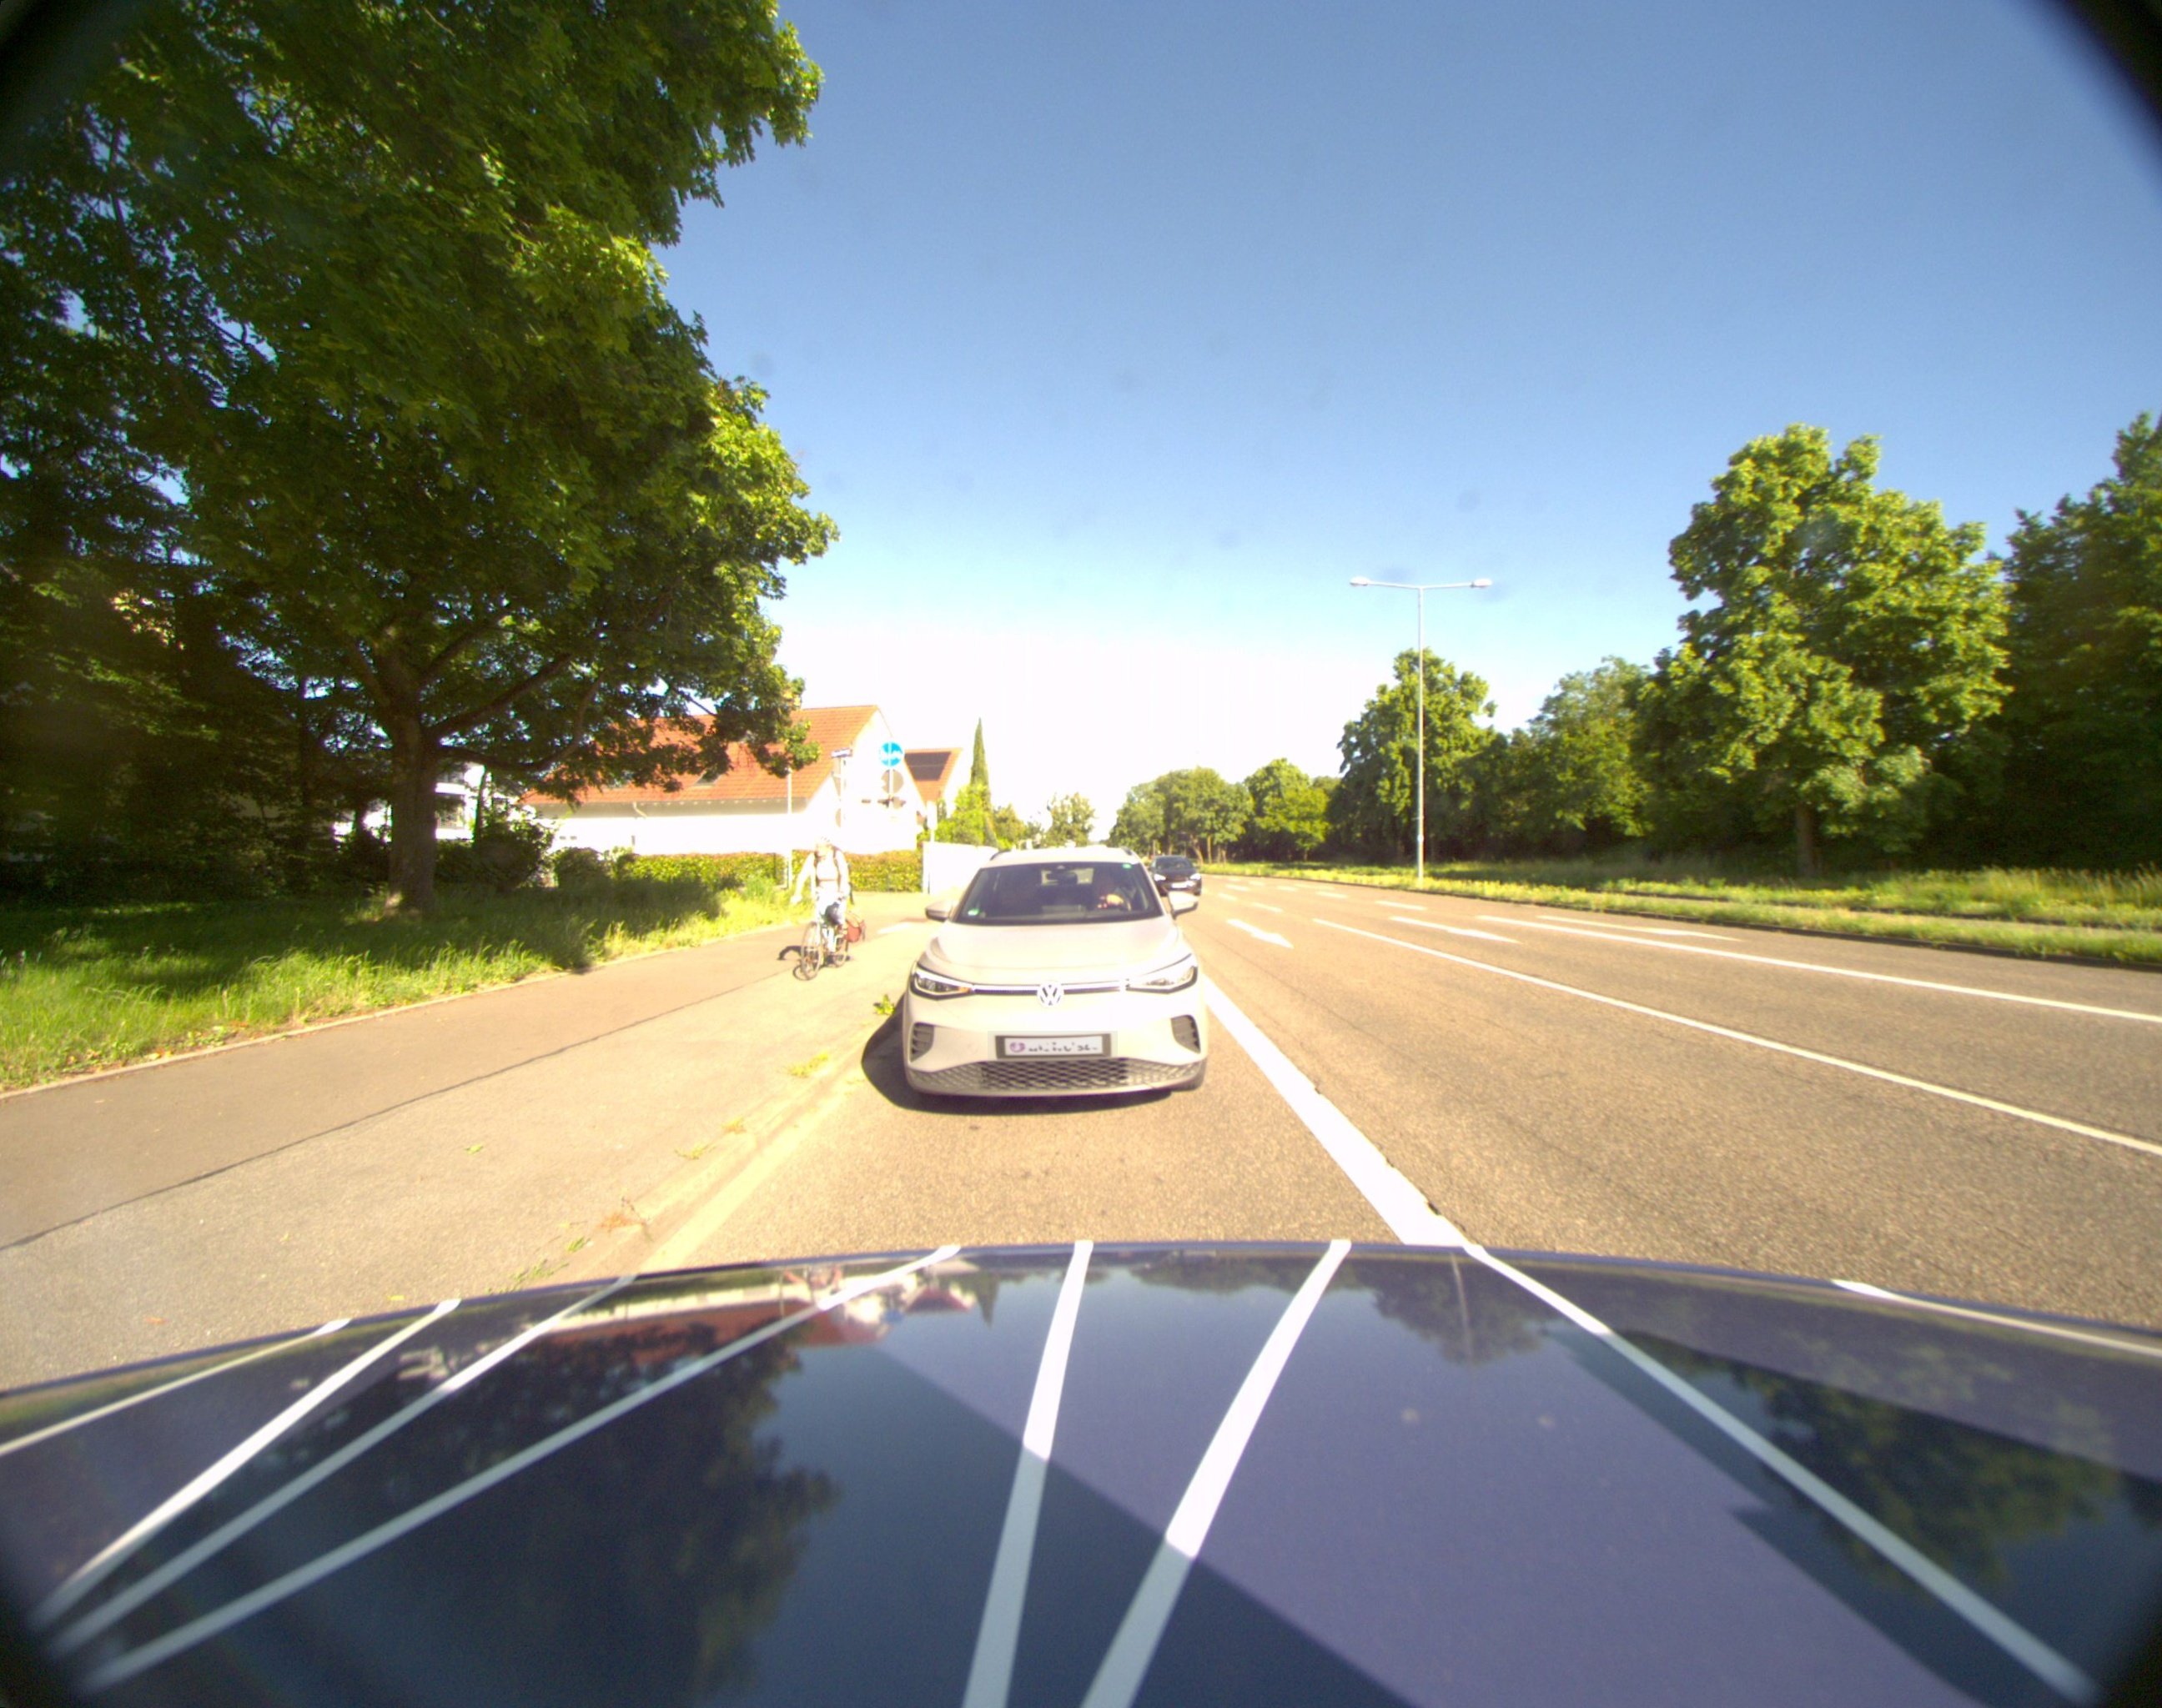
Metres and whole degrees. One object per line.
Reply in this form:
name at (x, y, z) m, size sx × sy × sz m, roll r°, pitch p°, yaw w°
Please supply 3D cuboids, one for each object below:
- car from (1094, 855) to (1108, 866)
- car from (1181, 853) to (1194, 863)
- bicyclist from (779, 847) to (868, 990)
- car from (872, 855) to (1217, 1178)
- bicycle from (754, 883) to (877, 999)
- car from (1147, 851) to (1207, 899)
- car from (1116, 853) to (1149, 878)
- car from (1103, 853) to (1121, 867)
car at (3.283, 1.017, 124.163) m, size 1.856 × 1.576 × 3.998 m, roll -2°, pitch 1°, yaw -3°
car at (20.812, 0.792, 148.701) m, size 1.917 × 1.693 × 4.407 m, roll -2°, pitch 1°, yaw 1°
bicyclist at (-3.117, 0.746, 9.276) m, size 0.631 × 1.623 × 0.982 m, roll 3°, pitch 0°, yaw 3°
car at (-0.170, 0.872, 6.196) m, size 1.766 × 1.606 × 4.297 m, roll -3°, pitch 1°, yaw 1°
bicycle at (-3.130, 0.973, 9.191) m, size 0.575 × 1.148 × 2.141 m, roll 3°, pitch 0°, yaw 3°
car at (3.551, 0.733, 28.774) m, size 1.766 × 1.606 × 4.297 m, roll -2°, pitch 1°, yaw 1°
car at (3.559, 0.751, 53.103) m, size 1.856 × 1.576 × 3.998 m, roll -2°, pitch 1°, yaw -3°
car at (3.800, 0.763, 93.266) m, size 1.856 × 1.576 × 3.998 m, roll -2°, pitch 1°, yaw -3°
